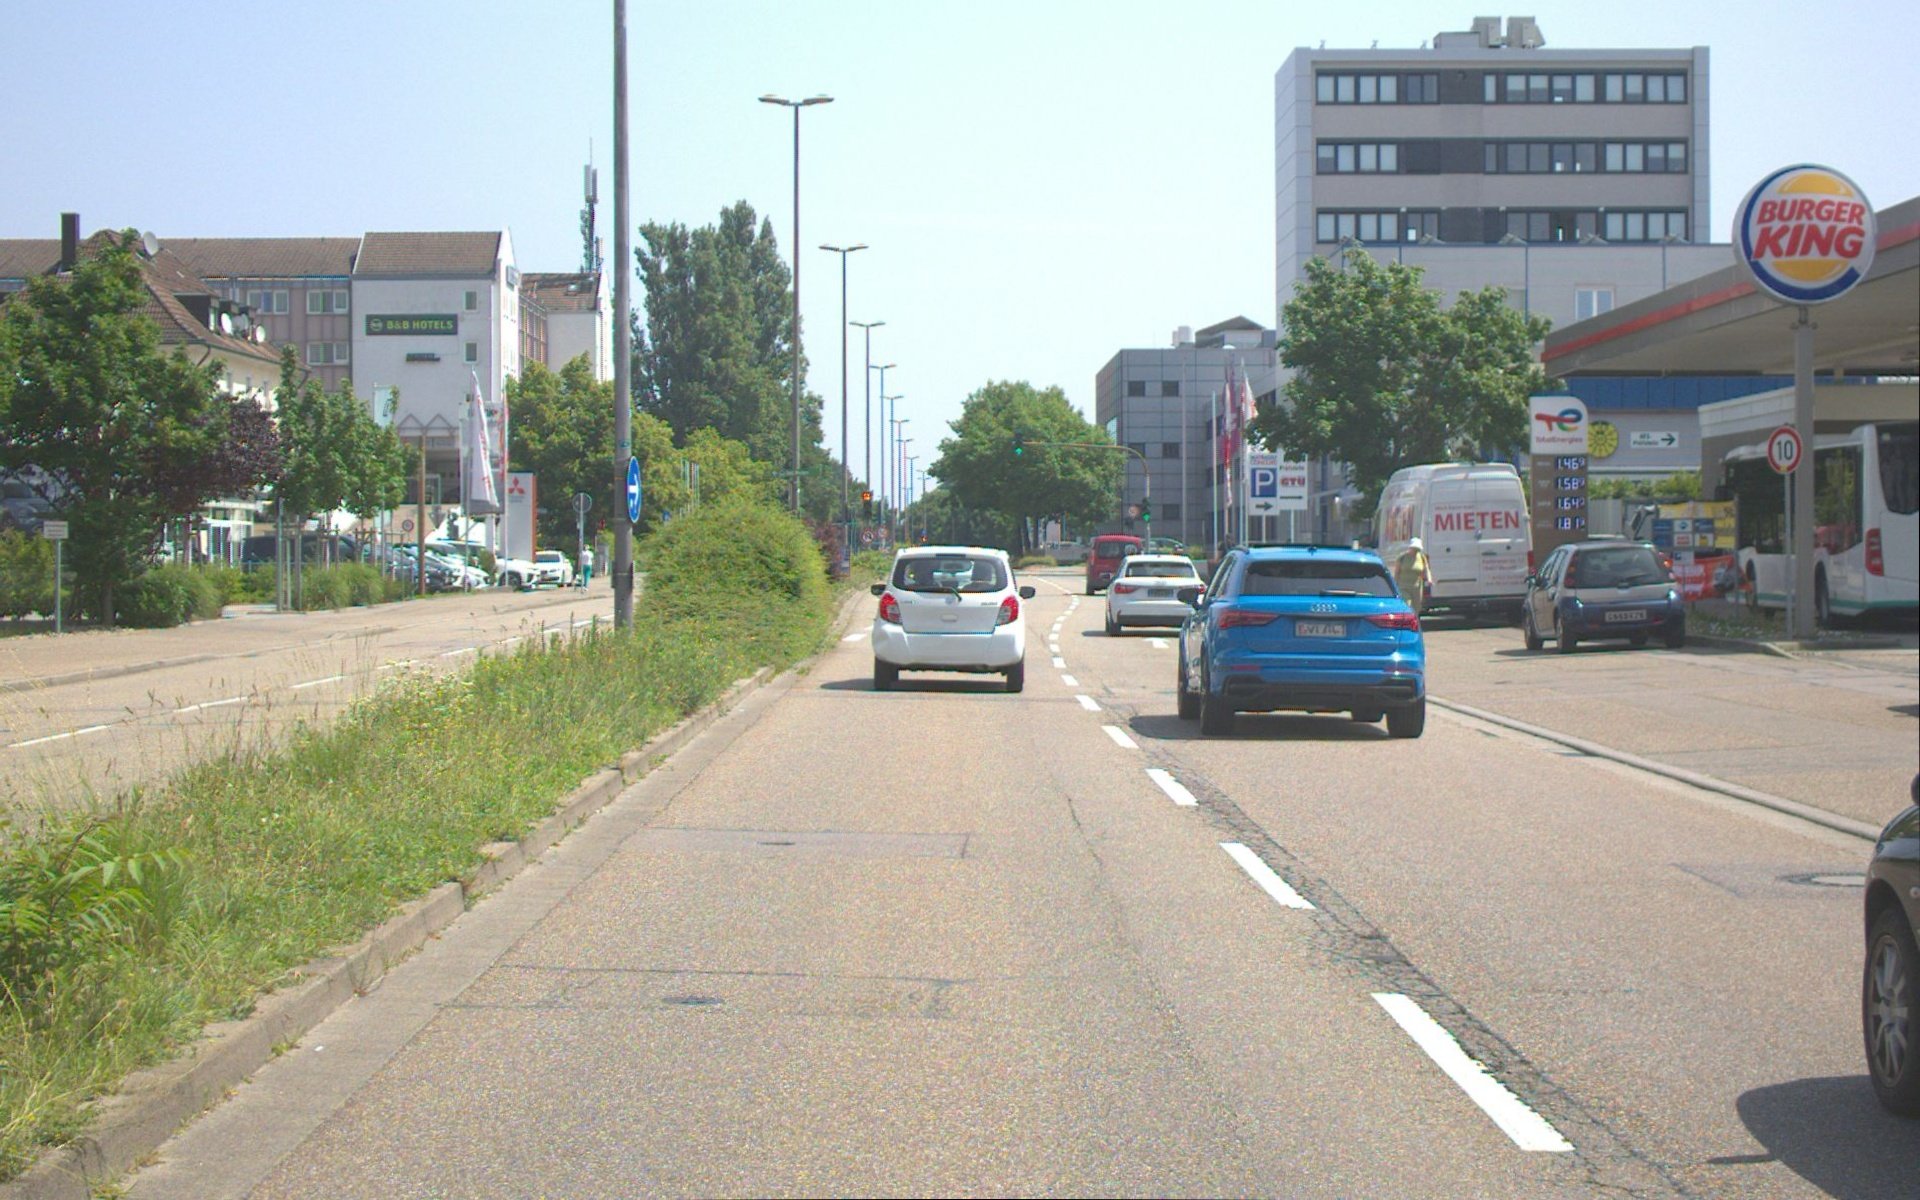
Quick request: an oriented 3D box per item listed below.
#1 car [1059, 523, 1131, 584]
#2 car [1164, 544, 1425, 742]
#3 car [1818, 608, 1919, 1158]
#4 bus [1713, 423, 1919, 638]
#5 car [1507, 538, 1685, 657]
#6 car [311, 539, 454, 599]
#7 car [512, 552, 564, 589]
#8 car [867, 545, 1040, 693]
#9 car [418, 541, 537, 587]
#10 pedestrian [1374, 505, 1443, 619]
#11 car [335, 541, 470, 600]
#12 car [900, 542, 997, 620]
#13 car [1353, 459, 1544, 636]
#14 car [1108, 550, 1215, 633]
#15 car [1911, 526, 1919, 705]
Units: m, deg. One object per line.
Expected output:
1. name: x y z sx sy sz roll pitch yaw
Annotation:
1. car: 4.033 -1.375 103.174 1.794 1.723 3.973 1 -1 -2
2. car: 2.825 0.323 29.890 1.913 1.591 4.395 0 1 1
3. car: 3.314 0.753 8.125 1.600 1.420 3.661 0 1 -1
4. bus: 14.526 -1.161 55.126 2.805 3.068 12.284 1 2 3
5. car: 8.629 -0.057 46.909 1.657 1.514 3.820 -1 1 0
6. car: -17.285 -0.921 103.004 3.986 1.659 1.889 1 -1 -3
7. car: -16.910 -1.167 137.909 1.901 1.349 4.000 1 -1 -5
8. car: -0.111 0.187 37.329 1.712 1.505 3.247 1 0 -3
9. car: -17.578 -1.304 125.285 3.987 1.547 1.865 1 -1 2
10. pedestrian: 7.259 -0.608 55.679 0.815 1.743 0.703 7 -1 0
11. car: -17.637 -0.917 108.974 3.986 1.722 1.937 1 -1 -3
12. car: -0.251 -0.349 67.909 1.830 1.445 4.000 1 -1 -1
13. car: 8.476 -0.917 60.400 2.133 2.830 7.309 -3 1 0
14. car: 3.511 -0.161 60.378 1.667 1.394 3.793 1 1 0
15. car: 9.418 0.161 28.588 1.667 1.590 4.613 -1 1 -1
